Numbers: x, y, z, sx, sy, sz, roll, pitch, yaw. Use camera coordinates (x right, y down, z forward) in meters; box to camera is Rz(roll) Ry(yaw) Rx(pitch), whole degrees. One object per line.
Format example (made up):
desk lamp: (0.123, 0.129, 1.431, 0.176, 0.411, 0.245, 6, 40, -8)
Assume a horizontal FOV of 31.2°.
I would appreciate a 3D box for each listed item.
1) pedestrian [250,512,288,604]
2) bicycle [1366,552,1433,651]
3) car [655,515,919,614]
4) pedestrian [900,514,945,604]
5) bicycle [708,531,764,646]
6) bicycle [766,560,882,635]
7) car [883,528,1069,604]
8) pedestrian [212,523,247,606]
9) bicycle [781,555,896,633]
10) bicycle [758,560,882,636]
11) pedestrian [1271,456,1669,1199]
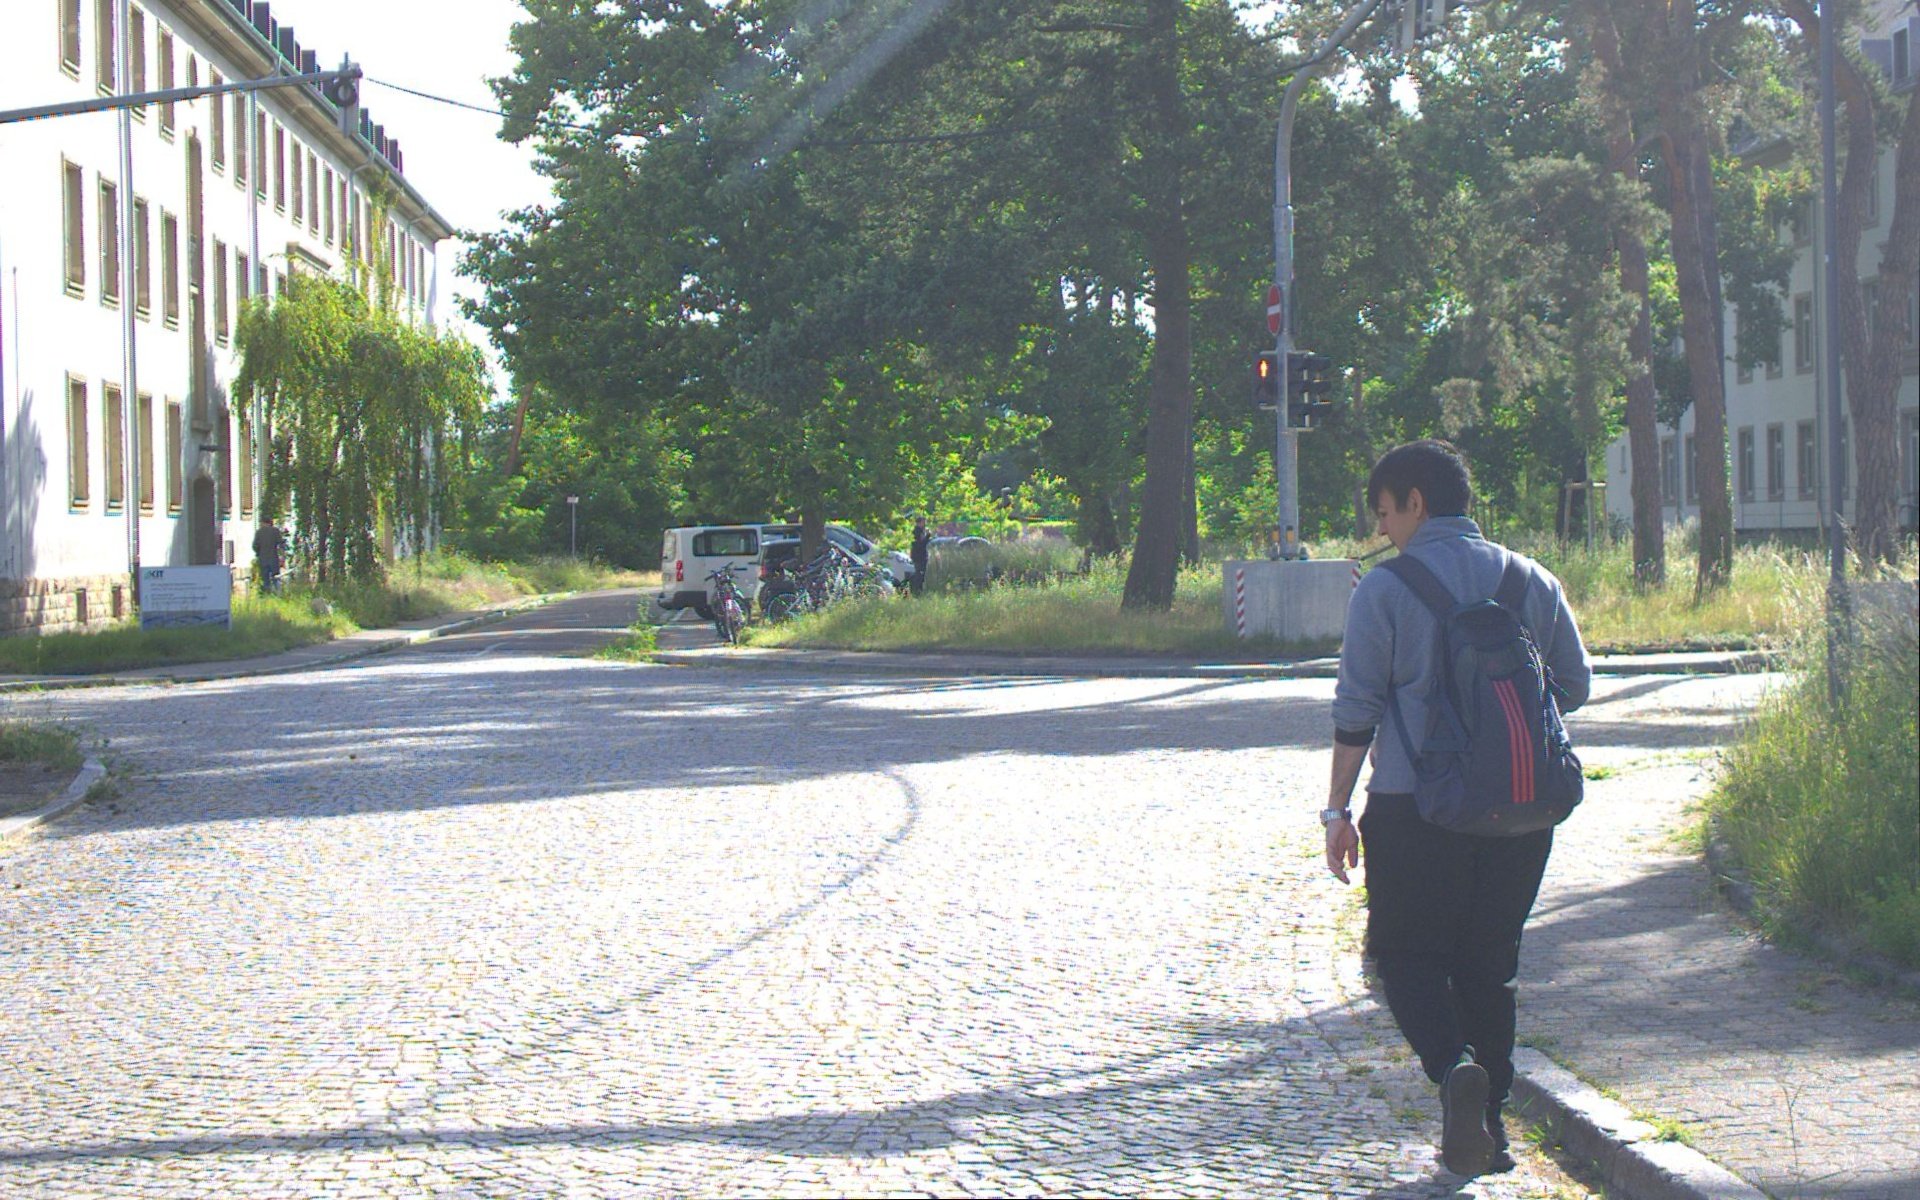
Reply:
pedestrian: (-13.157, -0.799, 65.444, 0.606, 1.746, 0.630, -1, 1, -19)
bicycle: (5.157, 0.000, 40.437, 0.722, 1.111, 2.583, -1, 1, 6)
car: (-3.523, -0.738, 69.832, 5.065, 1.911, 2.001, -1, 1, -12)
pedestrian: (-0.739, -0.820, 68.398, 0.759, 1.777, 0.684, -1, 1, -11)
bicycle: (-3.173, -0.181, 48.745, 0.753, 1.575, 2.537, -1, 1, -4)
bicycle: (-2.081, -0.045, 52.553, 1.727, 1.108, 0.484, -1, 1, -6)
car: (0.327, -0.742, 73.896, 3.743, 1.574, 1.742, -1, 1, -10)
pedestrian: (-13.863, -0.680, 65.278, 0.606, 1.554, 0.545, -1, 1, -9)
bicycle: (-1.884, -0.096, 53.244, 1.727, 1.160, 0.561, -1, 1, -6)
bicycle: (-2.118, -0.035, 52.006, 1.834, 1.108, 0.495, -1, 1, -6)
pedestrian: (1.174, 0.538, 8.075, 0.753, 1.719, 0.828, 1, 1, -2)
